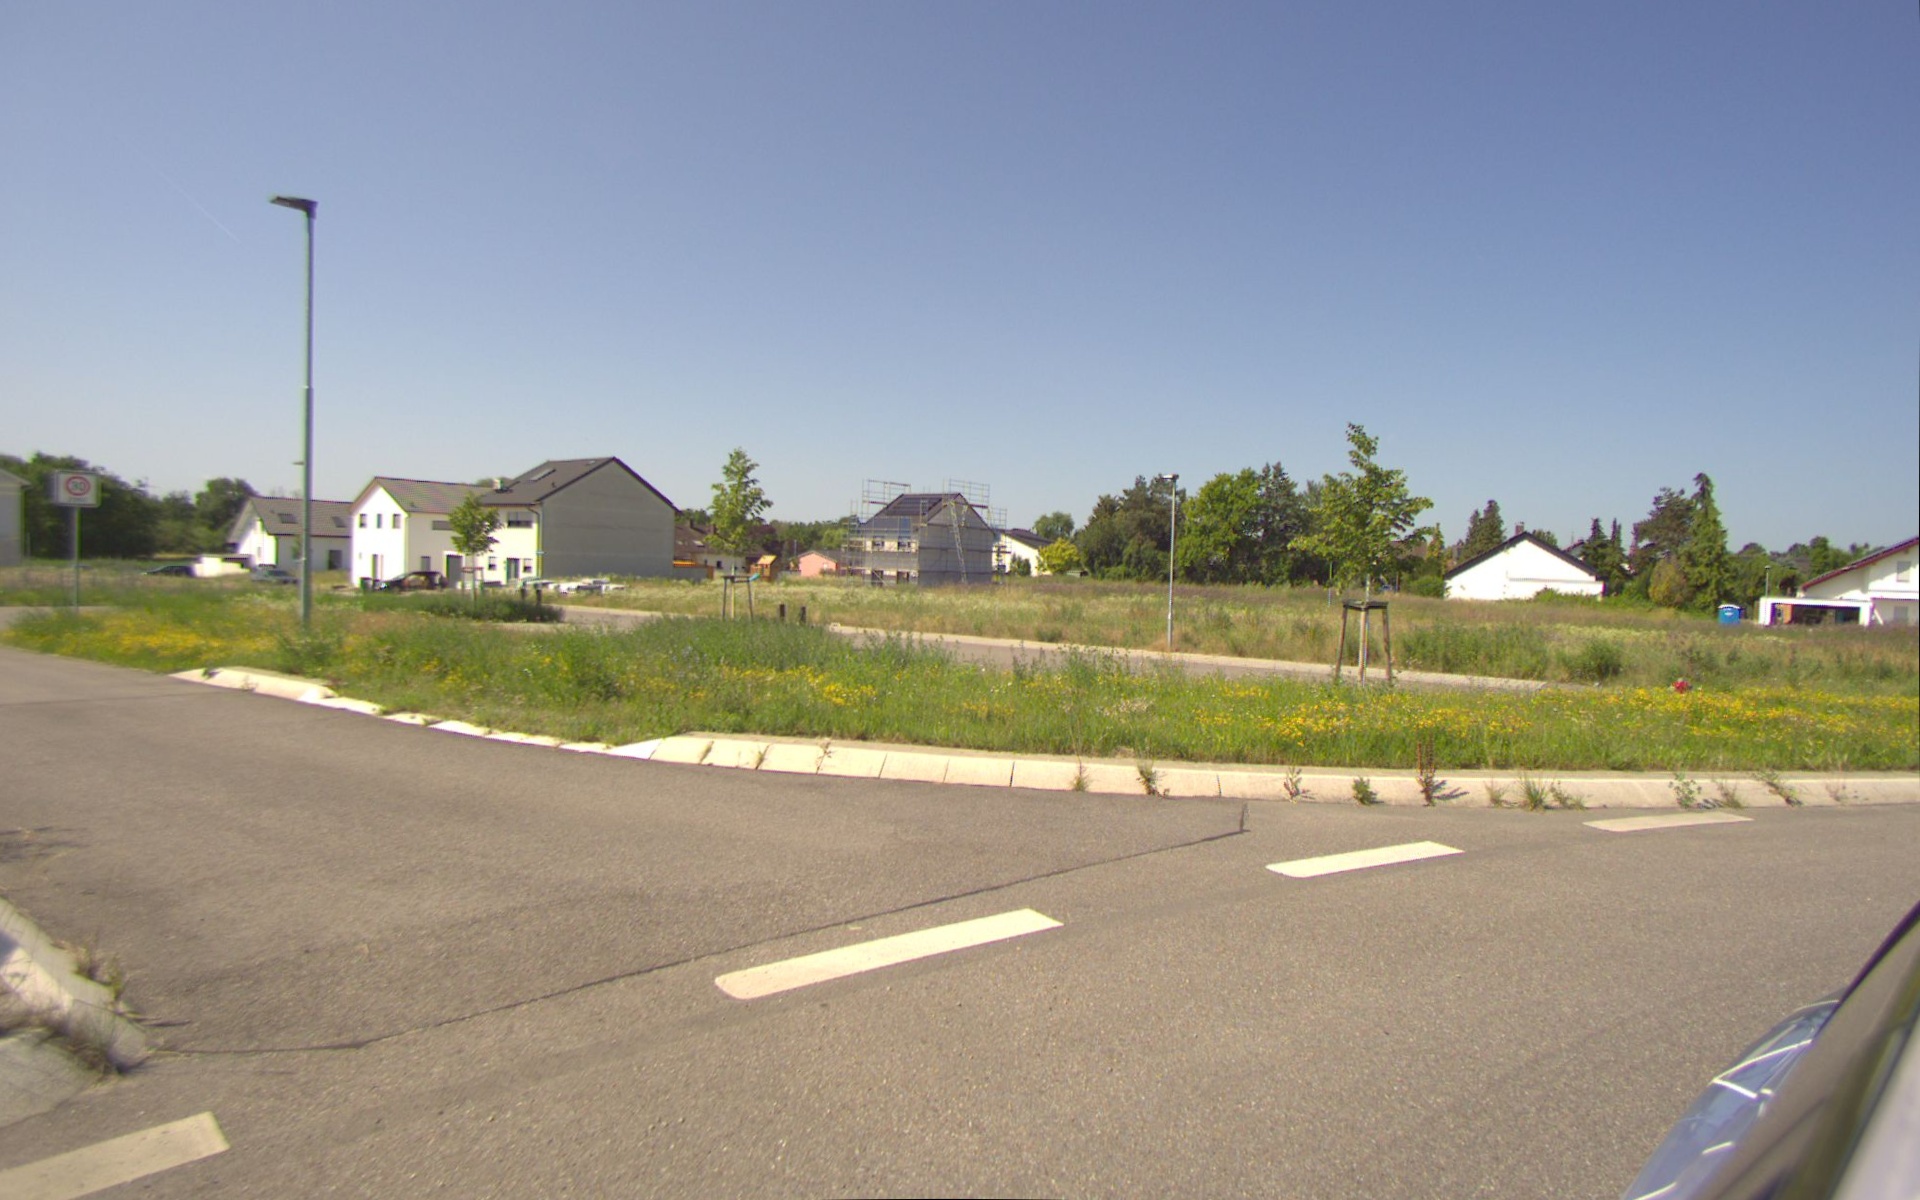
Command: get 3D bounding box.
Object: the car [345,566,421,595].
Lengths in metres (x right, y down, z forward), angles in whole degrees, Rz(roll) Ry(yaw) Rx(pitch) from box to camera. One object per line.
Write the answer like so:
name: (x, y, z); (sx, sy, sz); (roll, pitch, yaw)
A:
car: (-38.360, -1.314, 67.331); (1.991, 1.816, 3.944); (2, 2, 39)

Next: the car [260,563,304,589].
car: (-44.903, -1.580, 66.991); (3.473, 1.683, 1.656); (1, 1, 42)
